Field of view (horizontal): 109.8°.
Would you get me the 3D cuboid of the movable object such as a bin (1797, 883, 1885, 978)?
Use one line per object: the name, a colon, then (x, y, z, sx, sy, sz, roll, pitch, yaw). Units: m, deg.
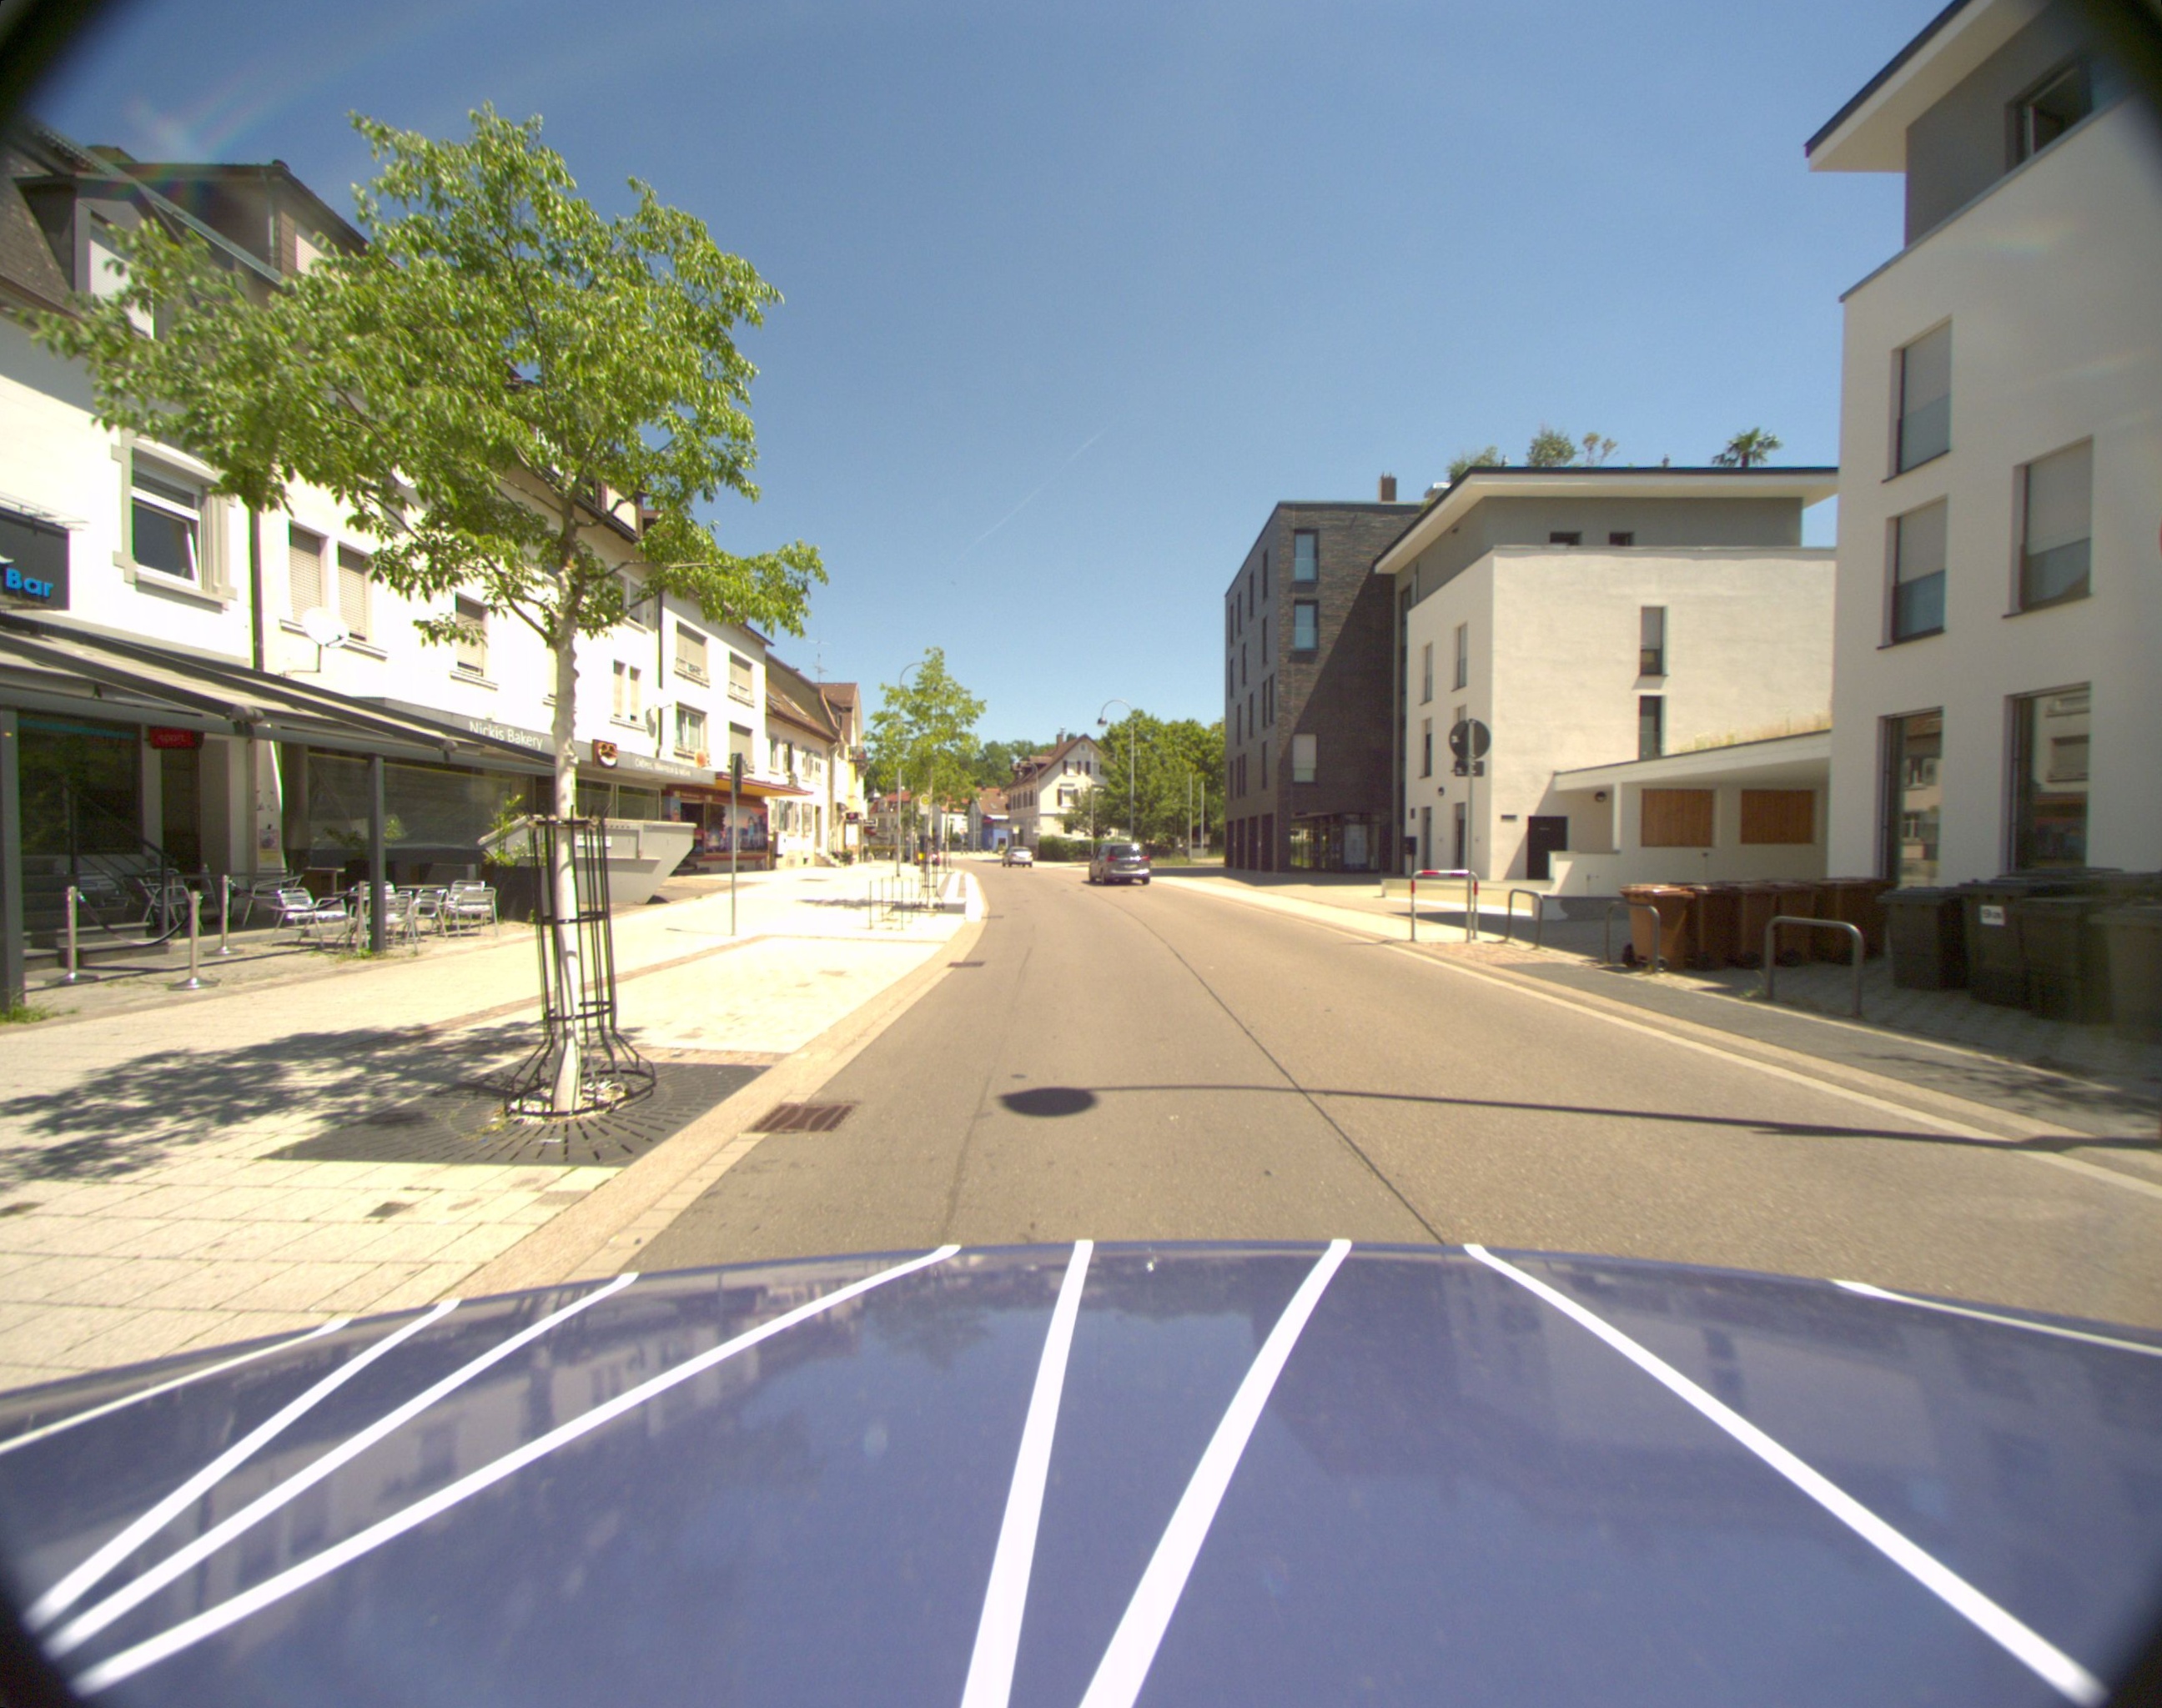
movable object such as a bin: (8.433, 0.834, 8.450, 0.404, 0.992, 0.555, 0, 1, -1)

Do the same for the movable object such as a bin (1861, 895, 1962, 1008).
movable object such as a bin: (7.776, 0.898, 7.122, 0.556, 0.992, 0.404, 0, 1, -13)

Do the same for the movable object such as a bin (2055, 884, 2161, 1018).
movable object such as a bin: (8.921, 0.792, 6.438, 0.678, 1.033, 0.603, -1, 1, -17)

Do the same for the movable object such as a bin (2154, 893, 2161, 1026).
movable object such as a bin: (8.707, 0.818, 5.729, 0.578, 1.033, 0.549, -1, 1, -17)

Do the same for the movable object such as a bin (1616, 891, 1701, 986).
movable object such as a bin: (6.446, 0.924, 8.500, 0.484, 0.992, 0.588, 0, 1, -1)

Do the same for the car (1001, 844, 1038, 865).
car: (-4.423, 0.030, 54.150, 1.674, 1.388, 3.840, 0, 1, -19)

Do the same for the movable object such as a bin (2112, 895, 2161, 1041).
movable object such as a bin: (8.141, 0.839, 5.556, 0.556, 1.033, 0.544, -1, 1, -17)

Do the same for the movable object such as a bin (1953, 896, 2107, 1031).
movable object such as a bin: (7.759, 0.875, 6.232, 0.555, 1.014, 0.560, 0, 1, -5)

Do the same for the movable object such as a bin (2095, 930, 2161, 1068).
movable object such as a bin: (7.370, 0.977, 5.117, 0.556, 0.863, 0.481, -1, 1, -17)

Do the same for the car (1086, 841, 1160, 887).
car: (1.580, 0.326, 30.206, 1.949, 1.649, 4.230, -1, 1, -11)

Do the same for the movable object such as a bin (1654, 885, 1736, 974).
movable object such as a bin: (7.343, 0.888, 9.108, 0.484, 0.992, 0.588, 0, 1, -1)

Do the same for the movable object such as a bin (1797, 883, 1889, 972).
movable object such as a bin: (9.022, 0.853, 9.012, 0.484, 0.992, 0.587, 0, 1, -7)

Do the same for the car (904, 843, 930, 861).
car: (-14.622, -0.221, 67.589, 1.737, 1.464, 4.315, 2, 0, -19)

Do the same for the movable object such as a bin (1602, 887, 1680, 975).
movable object such as a bin: (6.725, 0.906, 9.146, 0.484, 0.992, 0.587, 0, 1, -4)

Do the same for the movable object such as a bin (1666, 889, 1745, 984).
movable object such as a bin: (6.932, 0.902, 8.453, 0.404, 0.992, 0.555, 0, 1, -1)

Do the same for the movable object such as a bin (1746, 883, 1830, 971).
movable object such as a bin: (8.386, 0.855, 9.027, 0.484, 0.992, 0.526, 0, 1, -2)

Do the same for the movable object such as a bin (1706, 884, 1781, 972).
movable object such as a bin: (7.887, 0.873, 9.061, 0.425, 0.992, 0.523, 0, 1, 0)

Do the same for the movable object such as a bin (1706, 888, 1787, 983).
movable object such as a bin: (7.388, 0.887, 8.451, 0.404, 0.992, 0.555, 0, 1, -1)

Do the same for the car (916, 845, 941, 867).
car: (-11.087, 0.106, 55.259, 1.685, 1.505, 3.382, -1, 1, -13)

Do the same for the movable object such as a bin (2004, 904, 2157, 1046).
movable object such as a bin: (7.460, 0.887, 5.690, 0.555, 0.992, 0.427, 0, 1, 1)

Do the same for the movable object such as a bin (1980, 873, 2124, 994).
movable object such as a bin: (9.479, 0.746, 7.433, 0.695, 1.089, 0.646, -1, 1, -17)

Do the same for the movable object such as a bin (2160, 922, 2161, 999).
movable object such as a bin: (9.834, 0.762, 6.532, 0.556, 1.033, 0.481, -1, 1, -17)

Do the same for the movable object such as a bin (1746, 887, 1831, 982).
movable object such as a bin: (7.851, 0.879, 8.450, 0.404, 0.992, 0.555, 0, 1, -1)
